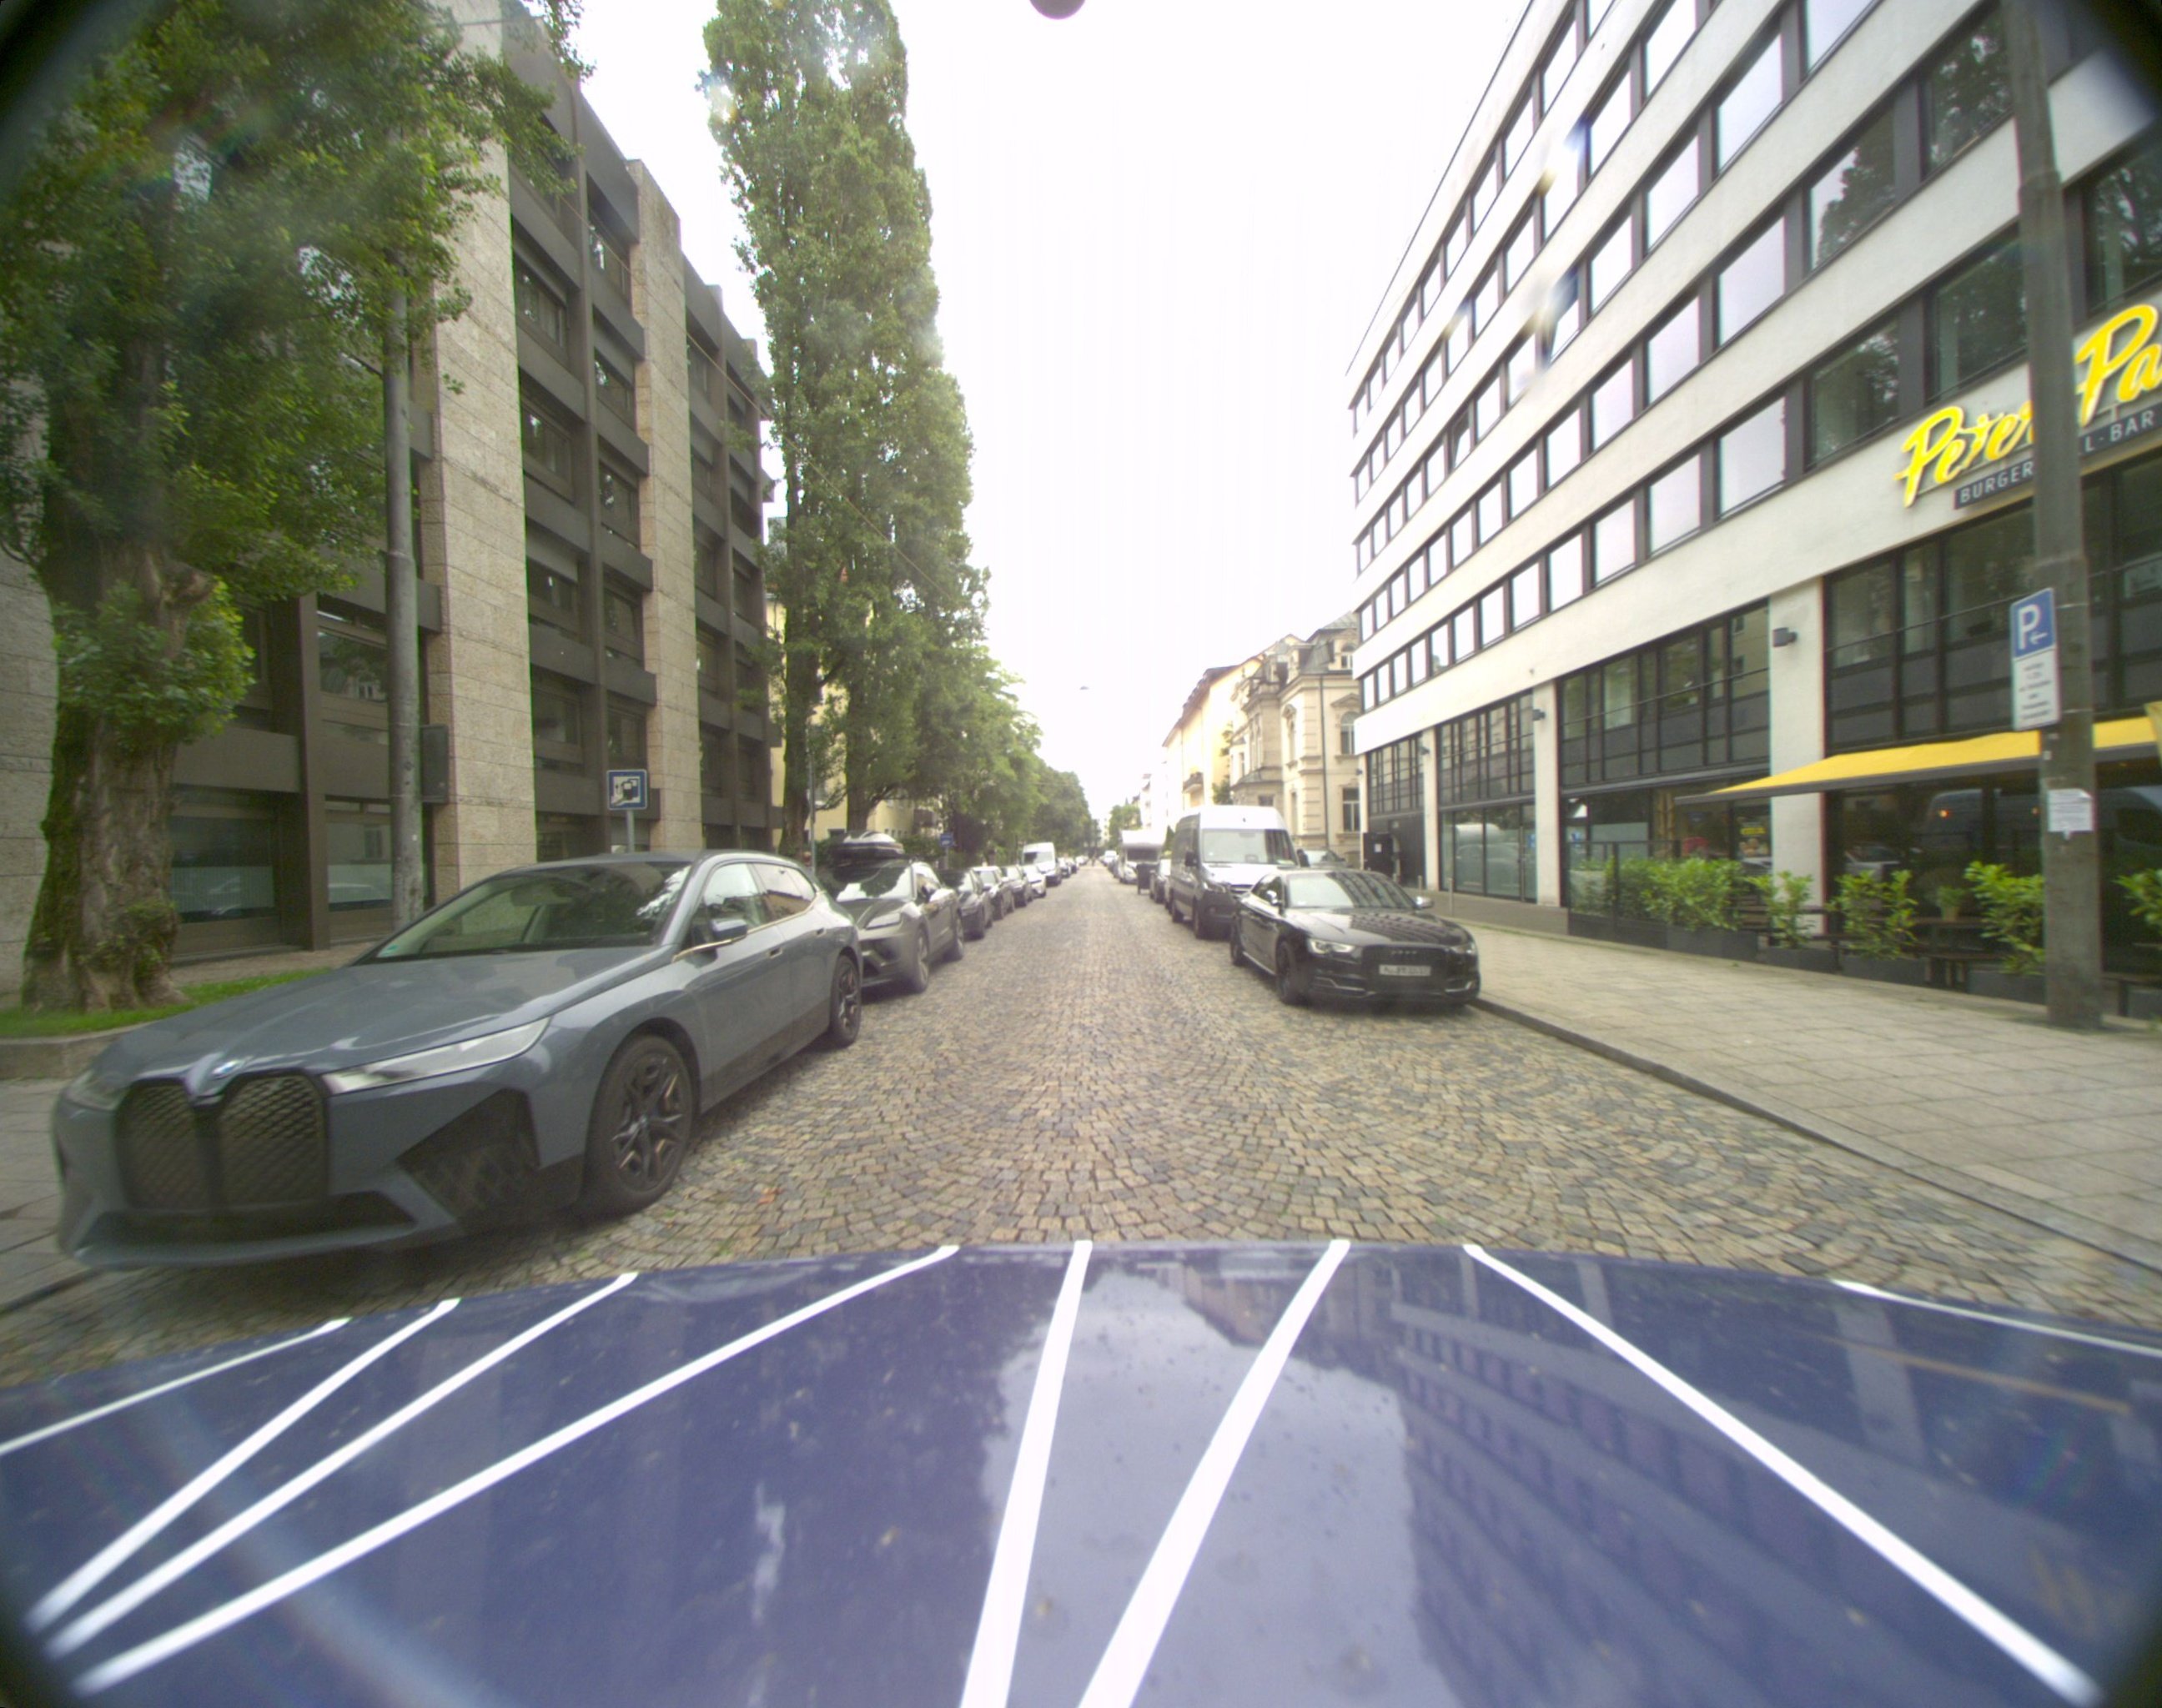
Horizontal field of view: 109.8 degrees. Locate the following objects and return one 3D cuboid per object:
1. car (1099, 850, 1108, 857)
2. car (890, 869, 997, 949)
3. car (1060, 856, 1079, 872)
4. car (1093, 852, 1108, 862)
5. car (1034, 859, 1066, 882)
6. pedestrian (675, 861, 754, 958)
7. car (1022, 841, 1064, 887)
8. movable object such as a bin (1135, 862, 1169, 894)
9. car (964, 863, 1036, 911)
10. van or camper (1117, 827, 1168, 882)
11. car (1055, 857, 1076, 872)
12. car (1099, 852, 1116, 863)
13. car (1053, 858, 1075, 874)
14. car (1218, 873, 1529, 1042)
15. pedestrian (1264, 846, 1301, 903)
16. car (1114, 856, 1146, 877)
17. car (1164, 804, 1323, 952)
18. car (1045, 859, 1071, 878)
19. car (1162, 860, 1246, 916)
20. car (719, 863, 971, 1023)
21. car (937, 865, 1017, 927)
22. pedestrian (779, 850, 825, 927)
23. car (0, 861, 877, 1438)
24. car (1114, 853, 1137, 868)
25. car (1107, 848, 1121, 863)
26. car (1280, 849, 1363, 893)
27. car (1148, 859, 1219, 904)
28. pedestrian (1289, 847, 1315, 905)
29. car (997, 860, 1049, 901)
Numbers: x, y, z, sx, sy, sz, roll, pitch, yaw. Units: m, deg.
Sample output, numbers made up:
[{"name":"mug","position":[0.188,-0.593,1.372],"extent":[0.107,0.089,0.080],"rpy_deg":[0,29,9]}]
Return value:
[{"name":"car","position":[5.406,-0.066,185.272],"extent":[1.999,1.680,3.873],"rpy_deg":[-3,0,-1]},{"name":"car","position":[-2.867,1.088,16.623],"extent":[1.724,1.382,4.204],"rpy_deg":[-2,0,-3]},{"name":"car","position":[-1.242,1.065,83.456],"extent":[1.999,1.680,3.873],"rpy_deg":[-3,0,-1]},{"name":"car","position":[3.009,0.399,118.203],"extent":[1.999,1.401,3.872],"rpy_deg":[1,1,-1]},{"name":"car","position":[-2.034,1.080,50.688],"extent":[1.999,1.379,3.873],"rpy_deg":[-3,0,-1]},{"name":"pedestrian","position":[-6.771,0.992,14.065],"extent":[0.867,1.704,0.913],"rpy_deg":[-1,1,21]},{"name":"car","position":[-2.120,0.510,44.043],"extent":[2.088,2.418,5.610],"rpy_deg":[-3,0,0]},{"name":"movable object such as a bin","position":[2.990,0.999,32.007],"extent":[1.255,1.290,1.174],"rpy_deg":[-1,1,-3]},{"name":"car","position":[-2.707,1.082,26.214],"extent":[1.999,1.379,3.873],"rpy_deg":[-3,0,0]},{"name":"van or camper","position":[3.599,0.013,45.981],"extent":[2.464,3.029,7.317],"rpy_deg":[-1,0,0]},{"name":"car","position":[-1.562,1.072,77.636],"extent":[1.999,1.379,3.873],"rpy_deg":[-2,0,-1]},{"name":"car","position":[3.584,0.479,103.610],"extent":[1.999,1.401,3.873],"rpy_deg":[-3,0,-1]},{"name":"car","position":[-1.572,1.116,71.429],"extent":[1.999,1.379,3.873],"rpy_deg":[-1,0,-1]},{"name":"car","position":[2.940,0.962,8.730],"extent":[1.998,1.322,4.116],"rpy_deg":[-1,0,0]},{"name":"pedestrian","position":[6.204,0.627,23.435],"extent":[0.928,1.696,0.800],"rpy_deg":[-1,1,4]},{"name":"car","position":[3.631,0.914,56.983],"extent":[1.999,1.379,3.873],"rpy_deg":[-3,0,-1]},{"name":"car","position":[3.080,0.394,15.826],"extent":[2.064,2.476,5.848],"rpy_deg":[-1,0,0]},{"name":"car","position":[-1.854,1.136,62.727],"extent":[1.999,1.379,3.873],"rpy_deg":[-3,0,-1]},{"name":"car","position":[3.454,0.919,22.040],"extent":[1.998,1.422,4.001],"rpy_deg":[-1,0,4]},{"name":"car","position":[-2.835,0.983,10.297],"extent":[1.998,1.573,4.342],"rpy_deg":[-2,0,0]},{"name":"car","position":[-2.811,1.113,21.203],"extent":[1.604,1.422,3.562],"rpy_deg":[-4,0,1]},{"name":"pedestrian","position":[-5.696,0.694,15.542],"extent":[0.645,1.528,0.709],"rpy_deg":[-1,1,-2]},{"name":"car","position":[-2.941,0.956,4.703],"extent":[2.018,1.690,4.672],"rpy_deg":[-2,0,0]},{"name":"car","position":[4.358,0.580,75.373],"extent":[1.999,1.401,3.873],"rpy_deg":[-1,0,-1]},{"name":"car","position":[5.625,0.239,129.760],"extent":[2.088,2.418,5.610],"rpy_deg":[-3,0,0]},{"name":"car","position":[9.023,0.602,28.885],"extent":[1.912,1.523,4.170],"rpy_deg":[-1,0,2]},{"name":"car","position":[3.511,0.919,26.647],"extent":[1.998,1.380,4.000],"rpy_deg":[-1,0,1]},{"name":"pedestrian","position":[6.699,0.651,23.044],"extent":[0.575,1.738,0.650],"rpy_deg":[-1,1,-2]},{"name":"car","position":[-2.352,1.042,31.675],"extent":[1.867,1.490,3.873],"rpy_deg":[-3,0,-1]}]
